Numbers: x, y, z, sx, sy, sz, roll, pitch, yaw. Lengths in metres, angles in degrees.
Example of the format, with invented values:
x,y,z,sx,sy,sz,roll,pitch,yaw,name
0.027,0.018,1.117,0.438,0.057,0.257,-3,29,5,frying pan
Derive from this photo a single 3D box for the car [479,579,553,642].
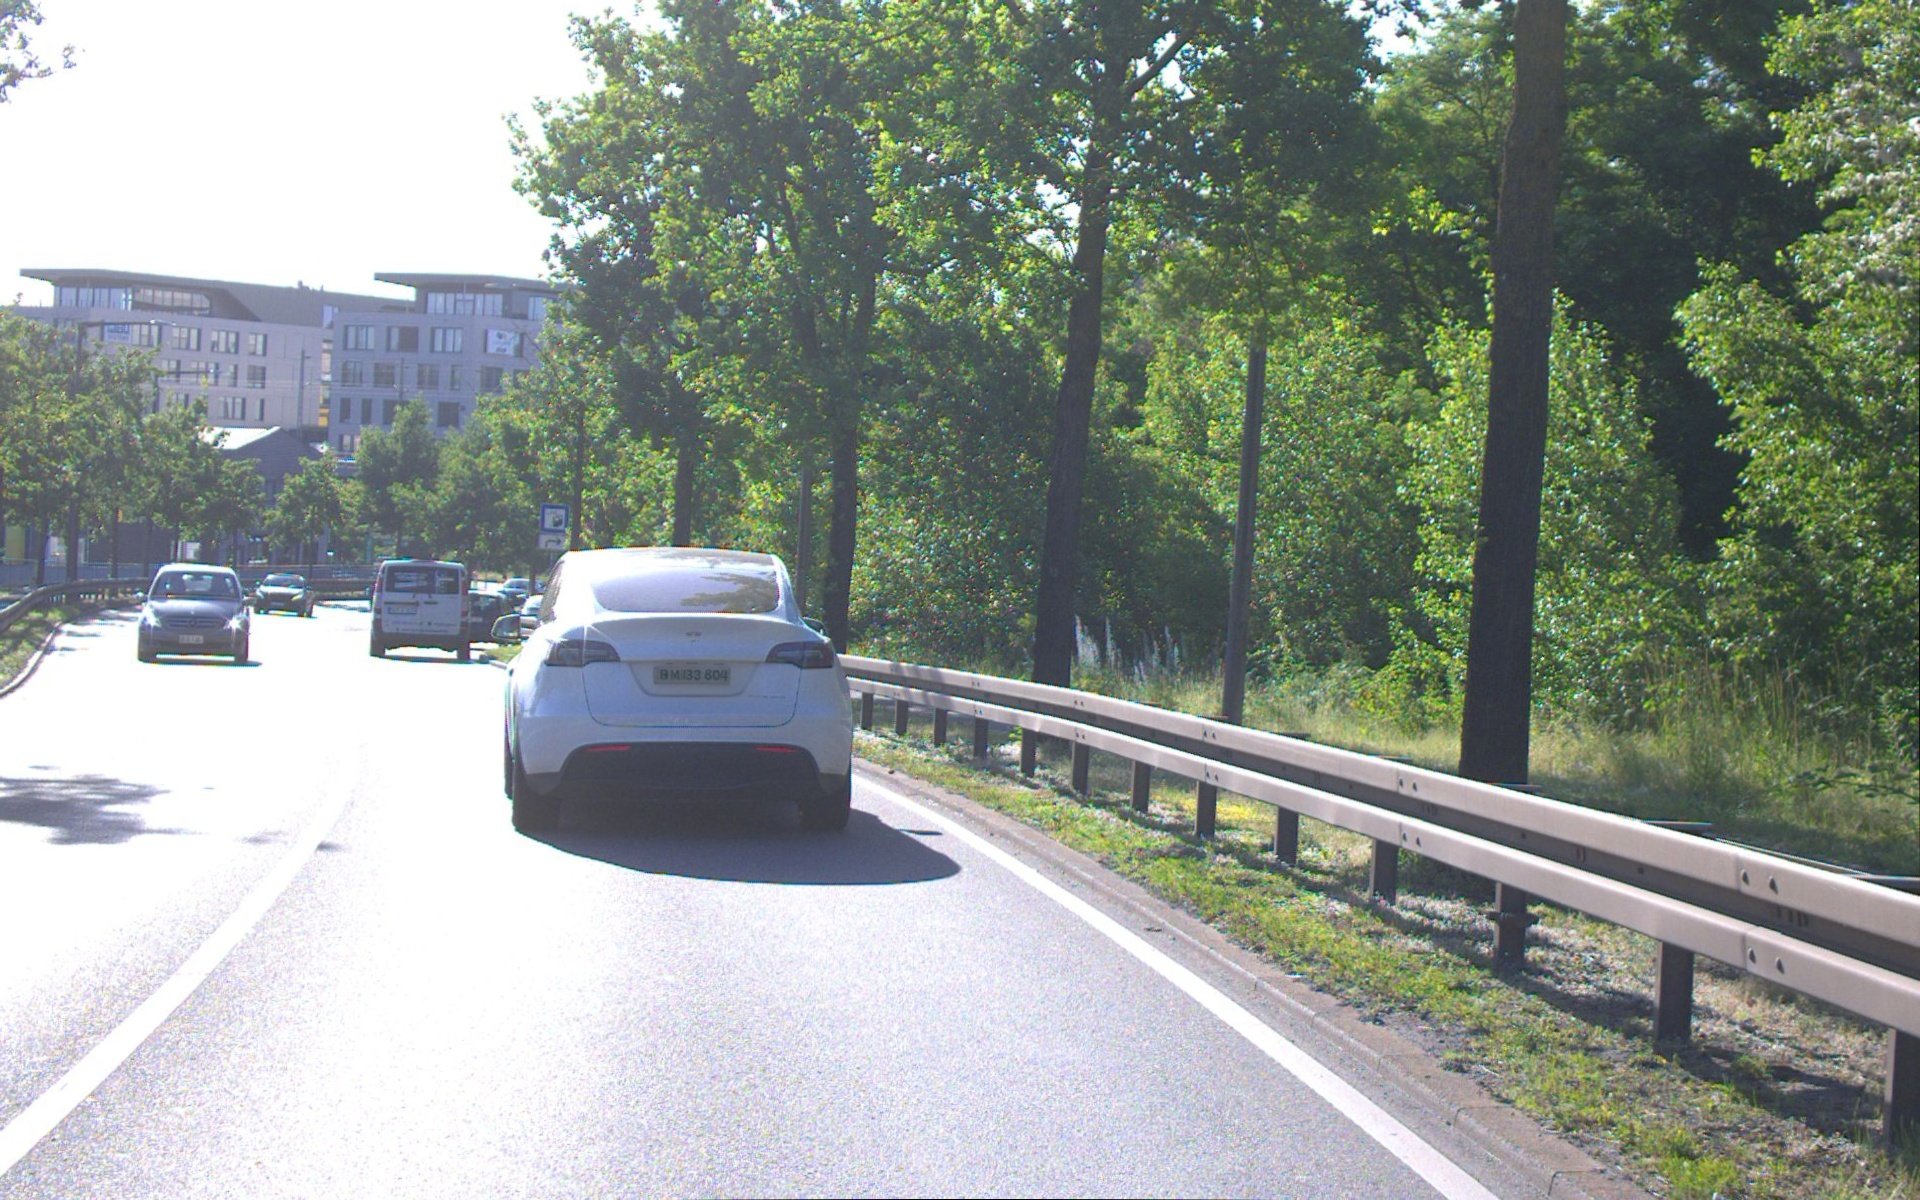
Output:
x,y,z,sx,sy,sz,roll,pitch,yaw,name
-13.858,0.309,107.569,1.910,1.796,4.129,4,1,-3,car

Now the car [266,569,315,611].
x,y,z,sx,sy,sz,roll,pitch,yaw,name
-24.180,-0.387,124.168,1.691,1.436,4.217,2,0,-11,car

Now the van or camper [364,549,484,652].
x,y,z,sx,sy,sz,roll,pitch,yaw,name
-10.441,-0.011,67.248,1.958,1.877,4.881,2,0,-5,van or camper

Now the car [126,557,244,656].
x,y,z,sx,sy,sz,roll,pitch,yaw,name
-12.903,0.086,57.317,1.808,1.549,4.142,2,0,-12,car

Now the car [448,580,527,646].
x,y,z,sx,sy,sz,roll,pitch,yaw,name
-11.557,0.309,83.956,1.604,1.429,3.679,4,0,-11,car

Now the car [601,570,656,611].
x,y,z,sx,sy,sz,roll,pitch,yaw,name
-15.576,-0.450,161.600,1.910,1.796,4.128,4,1,3,car

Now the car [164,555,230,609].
x,y,z,sx,sy,sz,roll,pitch,yaw,name
-22.628,-0.550,101.982,1.849,1.486,4.718,2,0,-13,car

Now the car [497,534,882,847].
x,y,z,sx,sy,sz,roll,pitch,yaw,name
-1.736,0.467,20.630,1.913,1.635,4.411,2,0,-9,car
